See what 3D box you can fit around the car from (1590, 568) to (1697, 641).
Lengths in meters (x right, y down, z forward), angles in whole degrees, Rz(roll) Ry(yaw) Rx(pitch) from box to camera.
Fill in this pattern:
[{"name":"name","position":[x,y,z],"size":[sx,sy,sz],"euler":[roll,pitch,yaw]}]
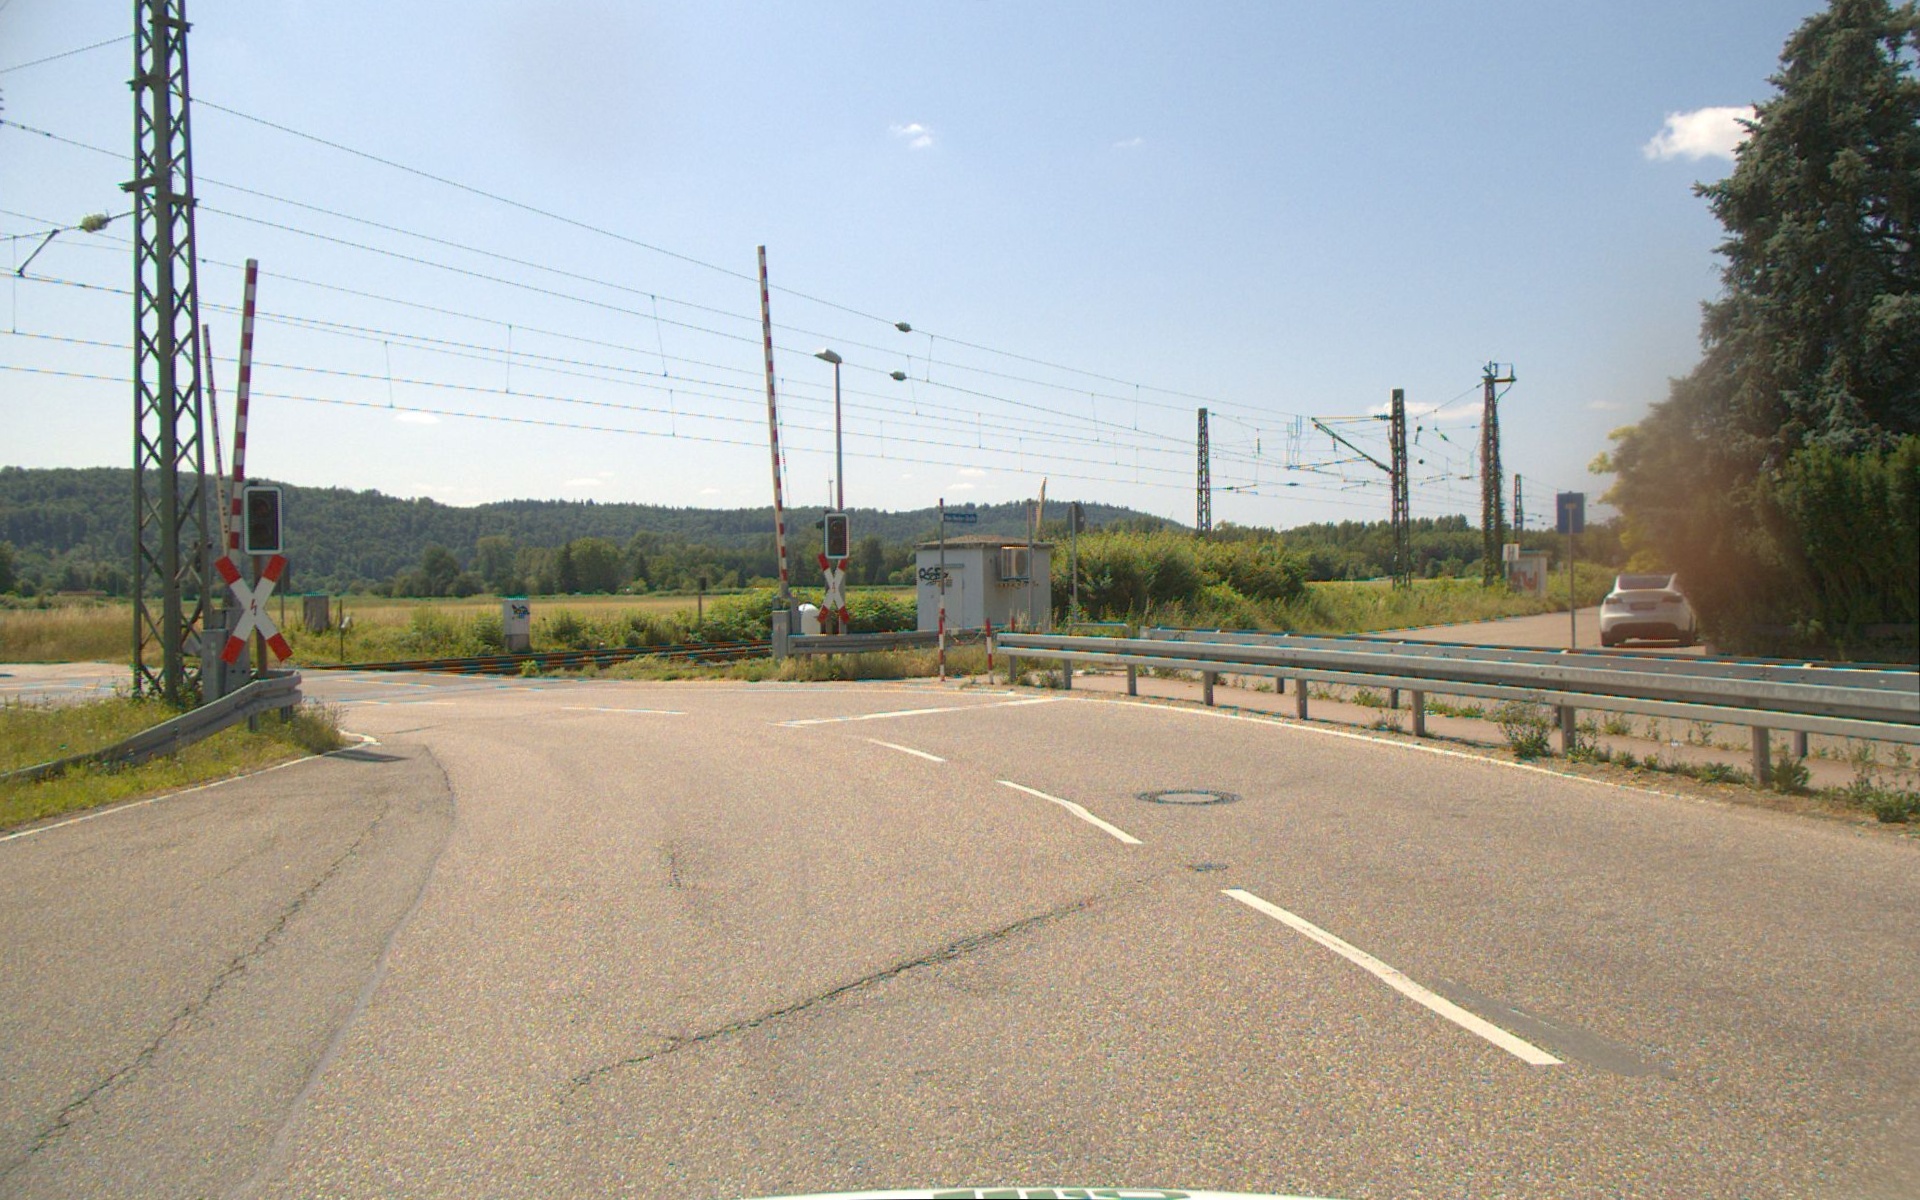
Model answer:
[{"name":"car","position":[15.812,0.065,38.143],"size":[1.954,1.536,4.450],"euler":[-1,1,26]}]
